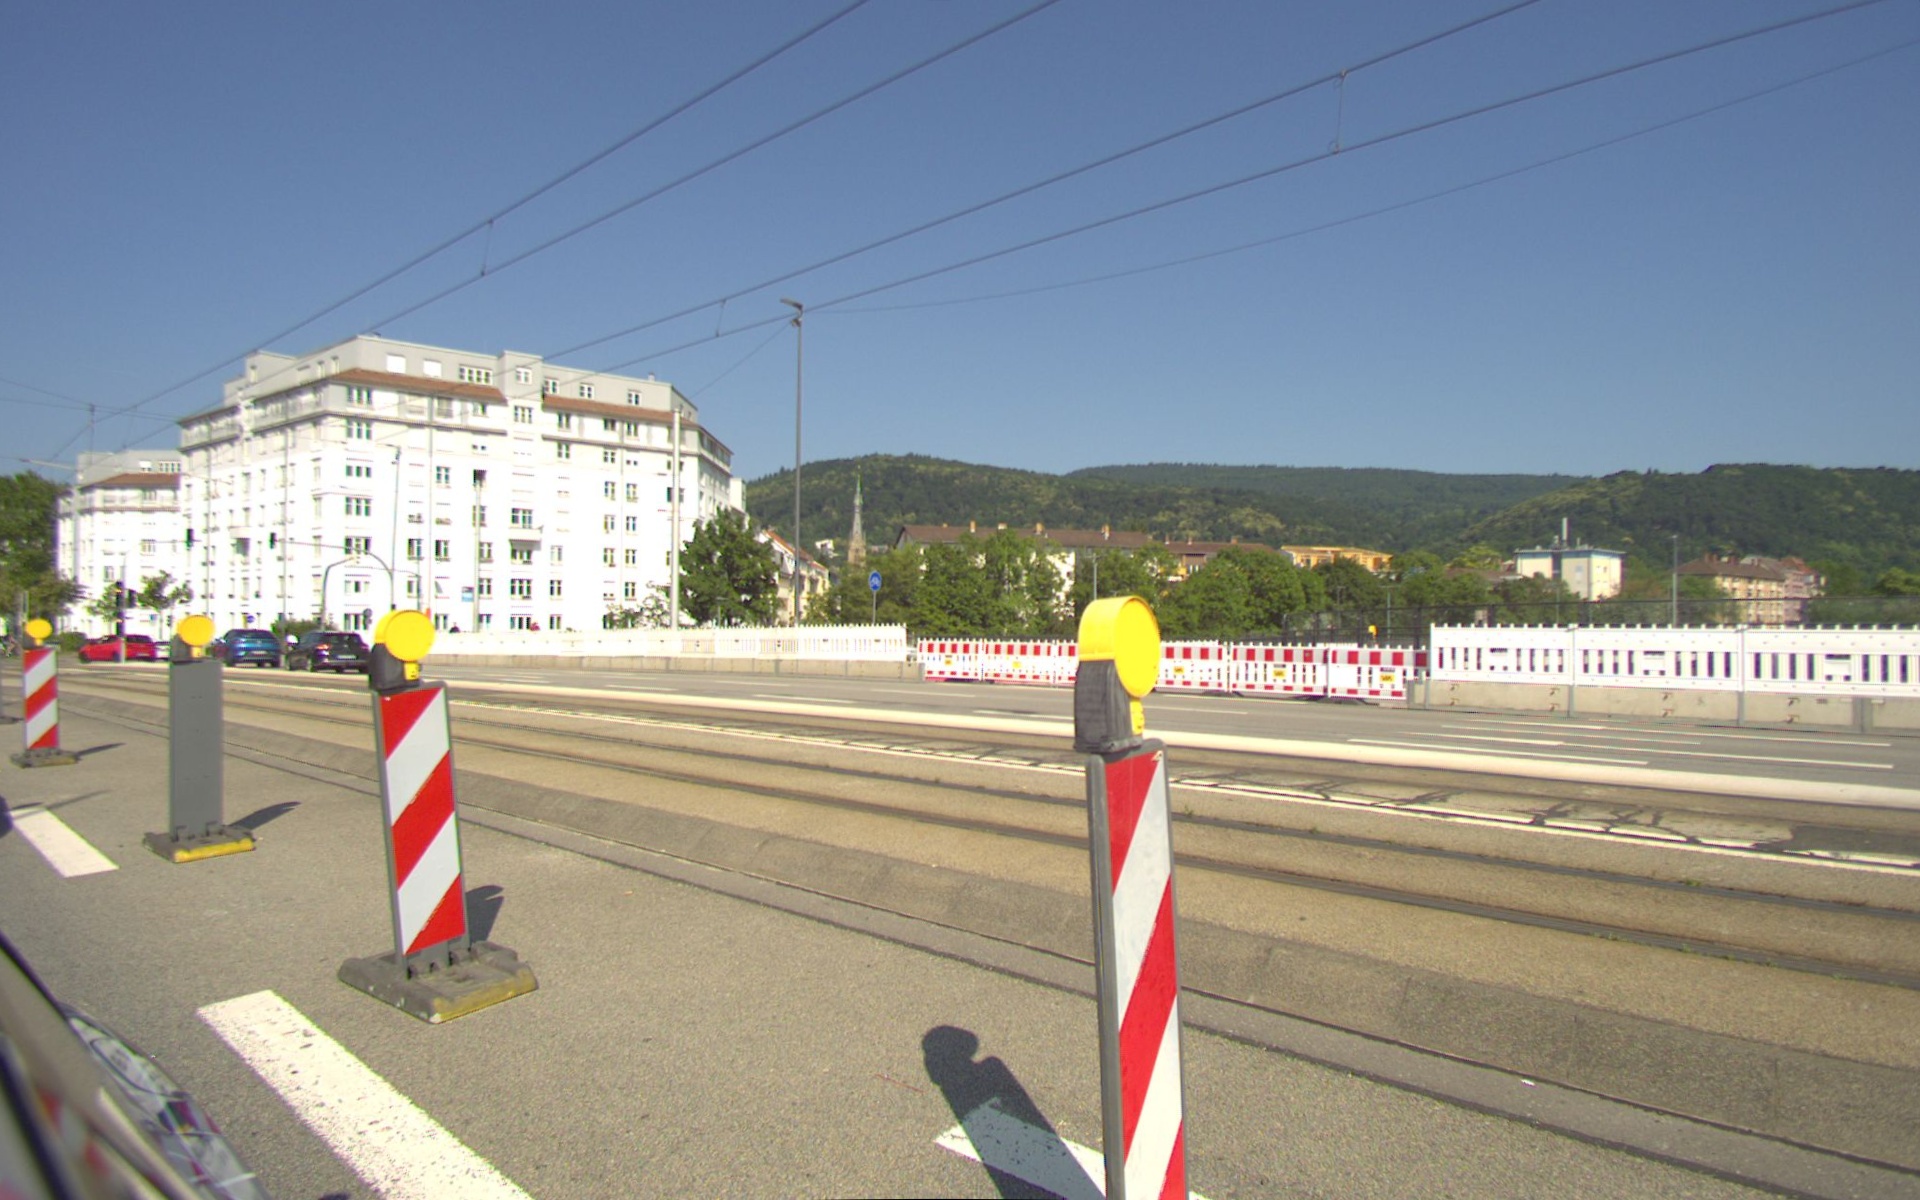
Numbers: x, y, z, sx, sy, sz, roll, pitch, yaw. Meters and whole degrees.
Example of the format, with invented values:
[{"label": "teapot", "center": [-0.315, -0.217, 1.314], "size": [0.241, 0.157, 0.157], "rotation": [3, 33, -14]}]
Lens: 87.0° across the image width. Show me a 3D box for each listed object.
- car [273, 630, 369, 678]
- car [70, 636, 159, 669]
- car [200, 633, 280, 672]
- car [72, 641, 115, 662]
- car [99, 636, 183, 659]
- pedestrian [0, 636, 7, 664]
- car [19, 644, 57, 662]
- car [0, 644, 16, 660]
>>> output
[{"label": "car", "center": [-21.329, 1.786, 33.740], "size": [4.174, 1.512, 1.490], "rotation": [-2, -4, 40]}, {"label": "car", "center": [-41.907, 2.587, 50.171], "size": [3.947, 1.448, 1.530], "rotation": [-2, 1, 18]}, {"label": "car", "center": [-30.105, 2.180, 42.252], "size": [4.553, 1.562, 1.652], "rotation": [-2, -3, 41]}, {"label": "car", "center": [-69.018, 4.086, 80.594], "size": [3.730, 1.650, 1.720], "rotation": [-2, -2, 34]}, {"label": "car", "center": [-52.800, 3.052, 65.242], "size": [4.436, 1.423, 1.697], "rotation": [0, -3, 10]}, {"label": "pedestrian", "center": [-61.238, 3.173, 64.157], "size": [0.820, 1.719, 0.992], "rotation": [-1, -1, 33]}, {"label": "car", "center": [-79.708, 4.541, 87.452], "size": [3.732, 1.496, 1.719], "rotation": [-2, -2, 36]}, {"label": "car", "center": [-91.933, 5.000, 96.798], "size": [3.732, 1.496, 1.719], "rotation": [-2, -2, 36]}]
